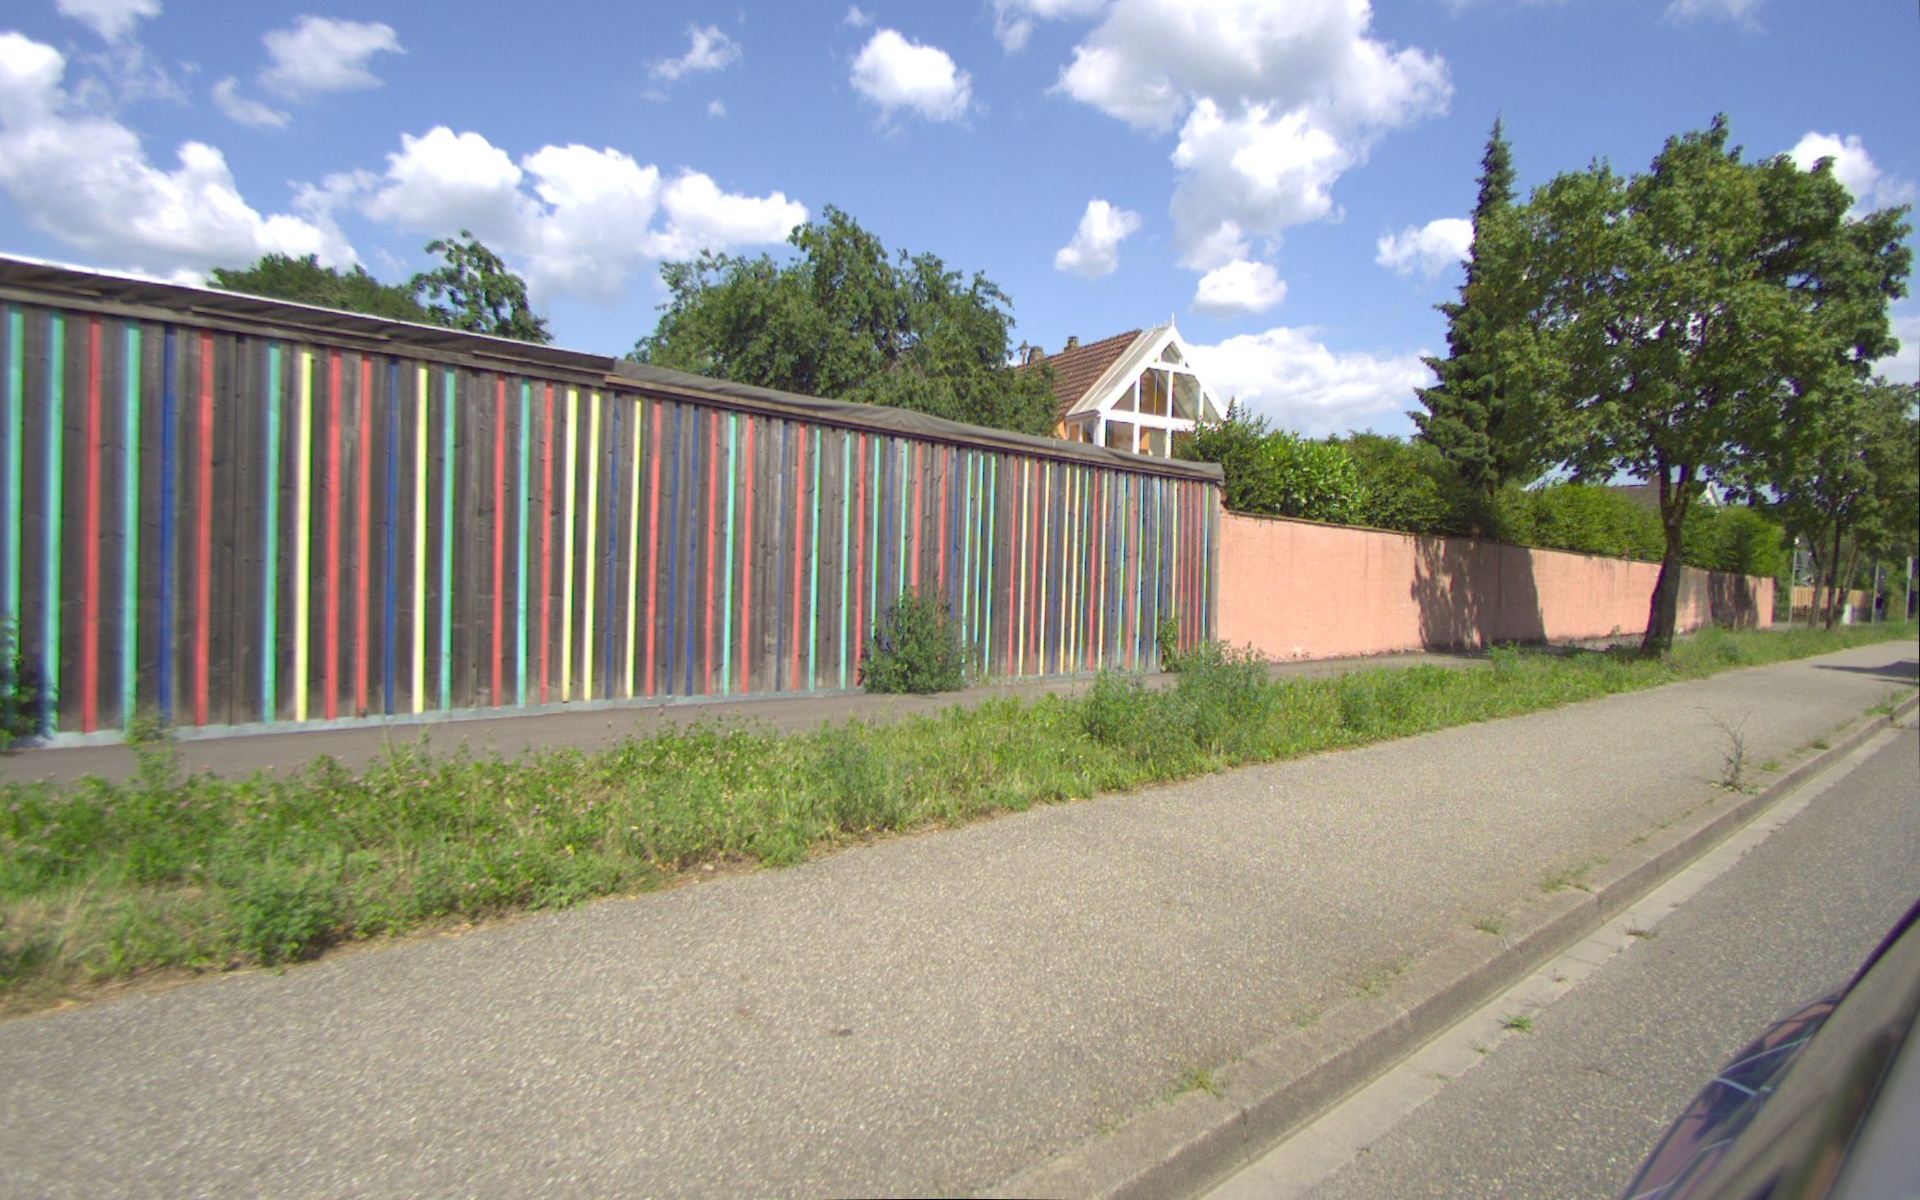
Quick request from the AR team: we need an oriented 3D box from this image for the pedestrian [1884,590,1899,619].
[{"bbox_3d":[54.719,0.251,59.440,0.623,1.698,0.561,1,1,-42],"label":"pedestrian"}]
